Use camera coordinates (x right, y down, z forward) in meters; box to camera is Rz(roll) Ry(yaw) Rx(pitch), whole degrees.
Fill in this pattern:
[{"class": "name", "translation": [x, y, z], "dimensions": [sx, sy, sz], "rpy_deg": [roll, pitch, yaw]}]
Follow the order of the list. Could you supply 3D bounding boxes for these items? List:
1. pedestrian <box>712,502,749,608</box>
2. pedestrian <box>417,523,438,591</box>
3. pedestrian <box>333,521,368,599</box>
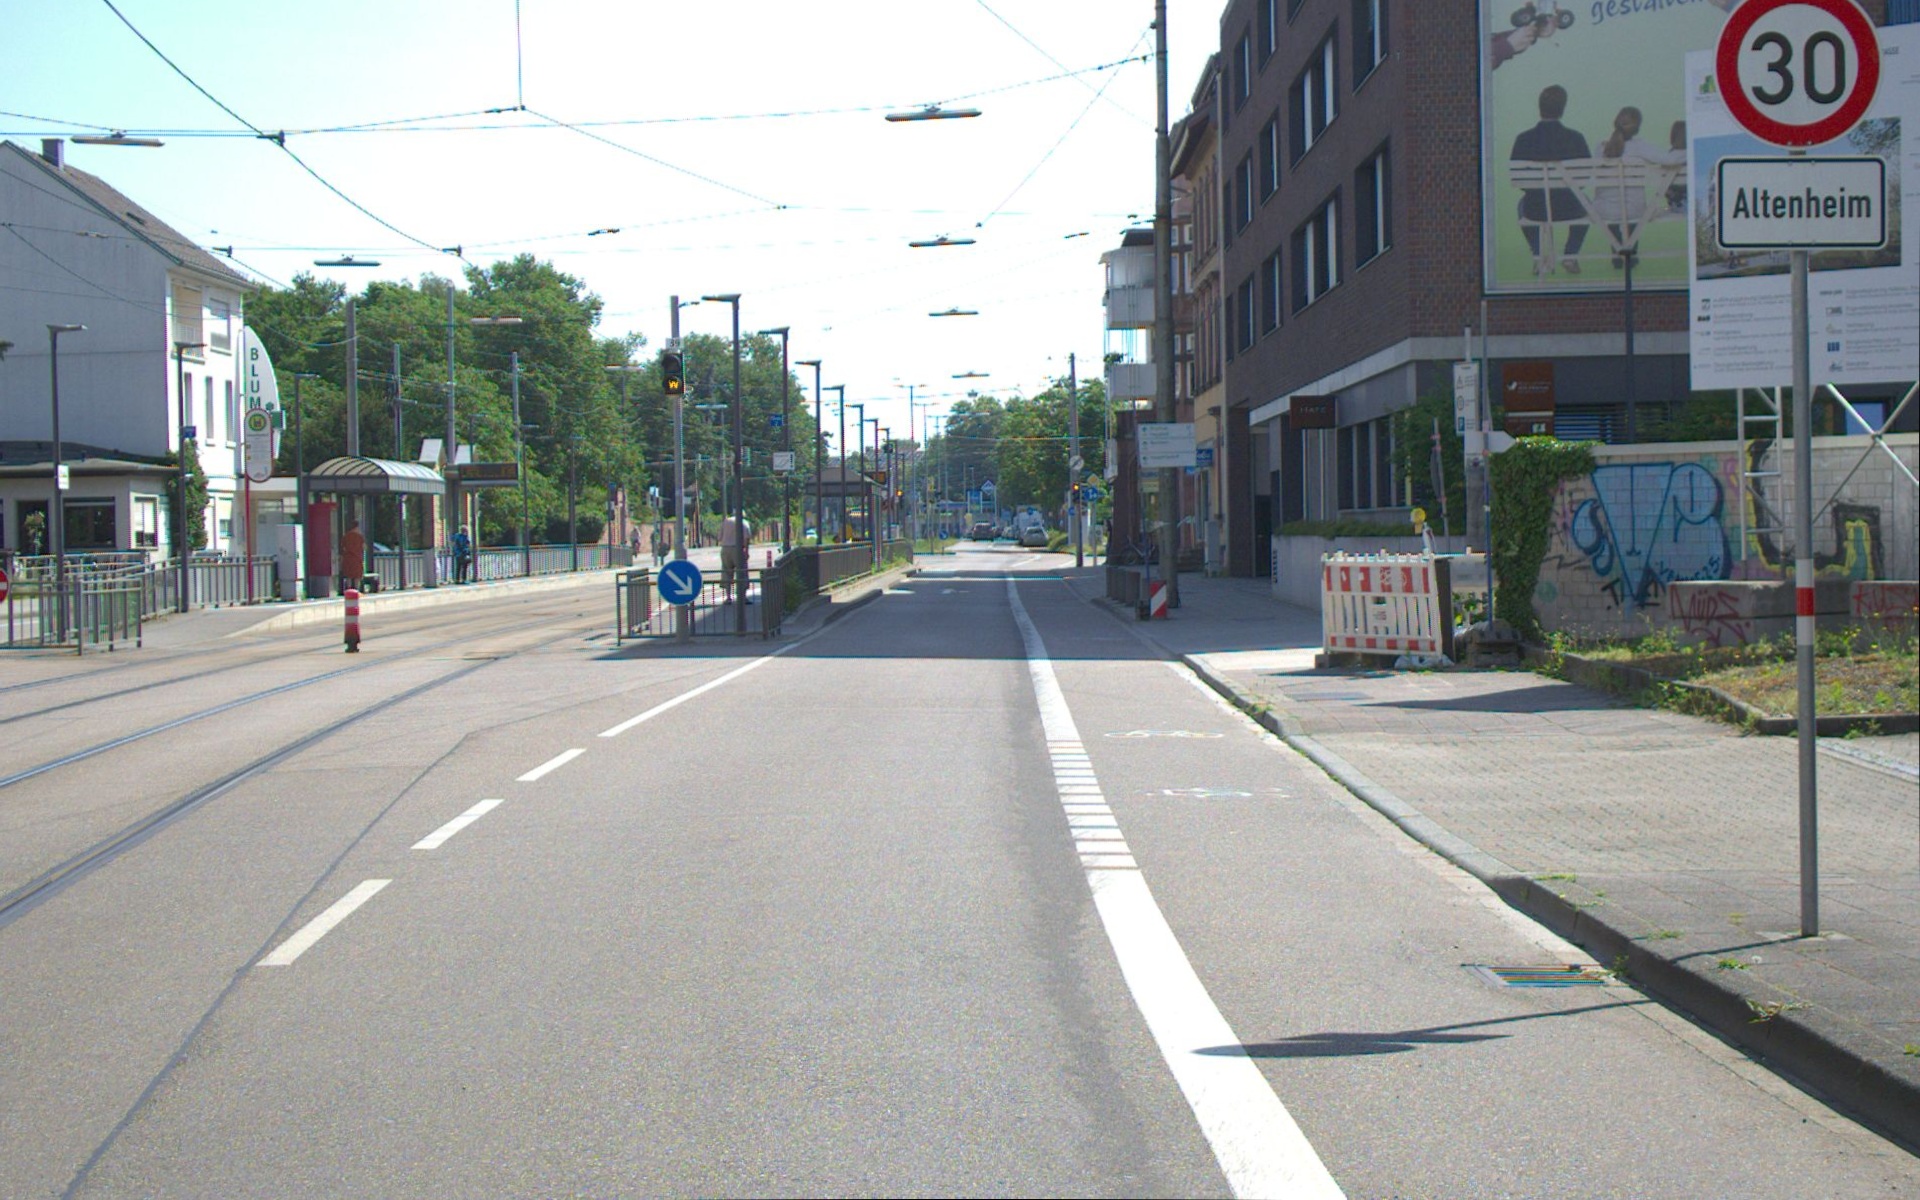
[{"class": "pedestrian", "translation": [-3.861, -0.767, 57.783], "dimensions": [0.556, 1.754, 0.794], "rpy_deg": [-2, 1, -5]}, {"class": "pedestrian", "translation": [-13.248, -1.077, 85.507], "dimensions": [0.415, 1.684, 0.708], "rpy_deg": [-1, 1, -13]}, {"class": "pedestrian", "translation": [-13.230, -0.869, 74.614], "dimensions": [0.705, 1.684, 0.416], "rpy_deg": [-1, 1, -7]}]
